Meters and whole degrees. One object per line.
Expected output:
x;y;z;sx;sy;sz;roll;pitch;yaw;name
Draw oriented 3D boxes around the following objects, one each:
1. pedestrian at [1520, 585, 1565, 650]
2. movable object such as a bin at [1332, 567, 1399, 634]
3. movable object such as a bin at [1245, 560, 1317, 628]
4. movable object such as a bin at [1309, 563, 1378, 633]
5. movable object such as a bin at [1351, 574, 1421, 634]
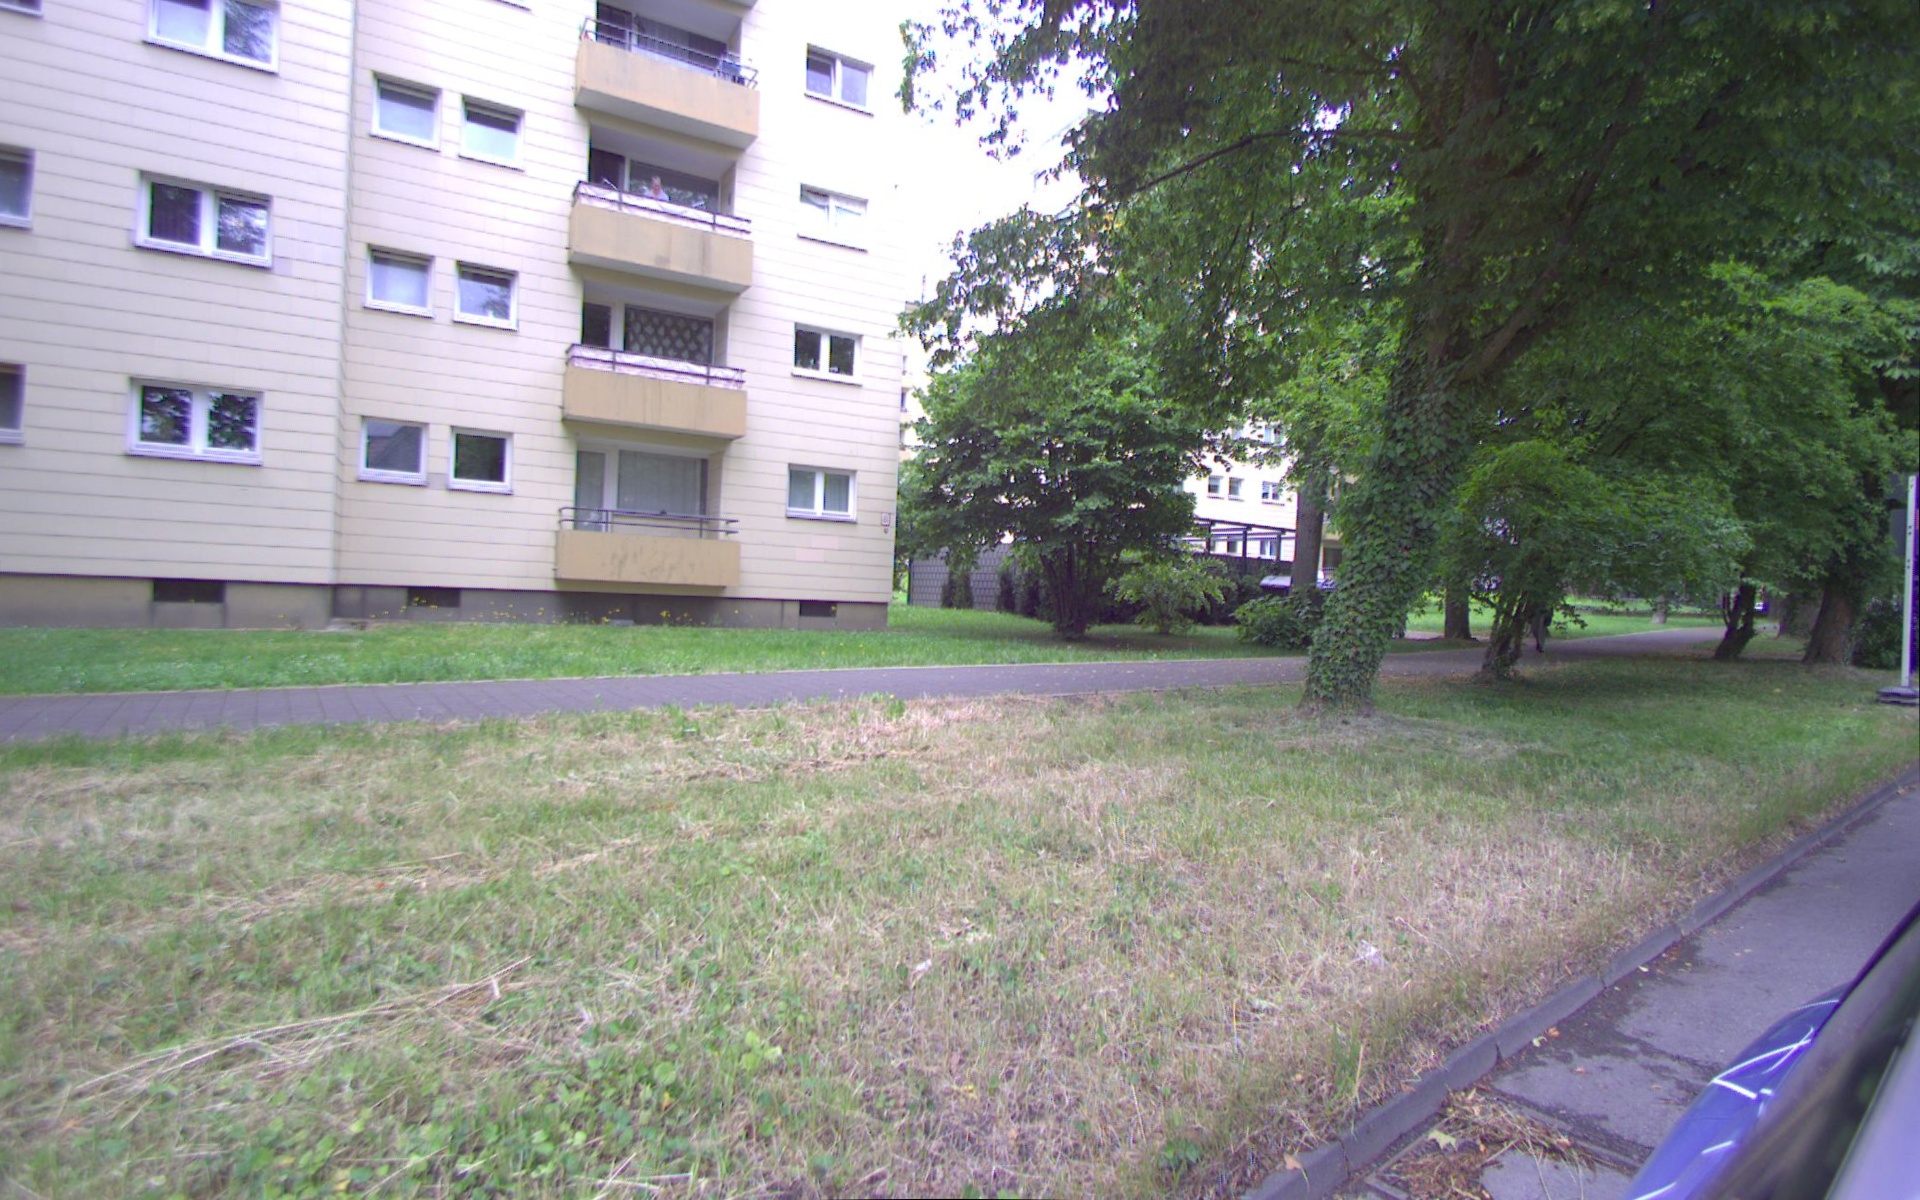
12.894;0.380;22.401;0.596;1.398;0.688;0;2;-43;pedestrian
10.576;-0.007;26.414;1.058;1.662;1.238;-1;4;-45;movable object such as a bin
8.417;-0.173;26.559;1.004;1.662;1.432;-1;4;-45;movable object such as a bin
9.646;-0.076;25.482;1.004;1.662;1.275;-1;4;-45;movable object such as a bin
11.450;0.082;27.215;1.182;1.492;1.326;-1;4;-45;movable object such as a bin
